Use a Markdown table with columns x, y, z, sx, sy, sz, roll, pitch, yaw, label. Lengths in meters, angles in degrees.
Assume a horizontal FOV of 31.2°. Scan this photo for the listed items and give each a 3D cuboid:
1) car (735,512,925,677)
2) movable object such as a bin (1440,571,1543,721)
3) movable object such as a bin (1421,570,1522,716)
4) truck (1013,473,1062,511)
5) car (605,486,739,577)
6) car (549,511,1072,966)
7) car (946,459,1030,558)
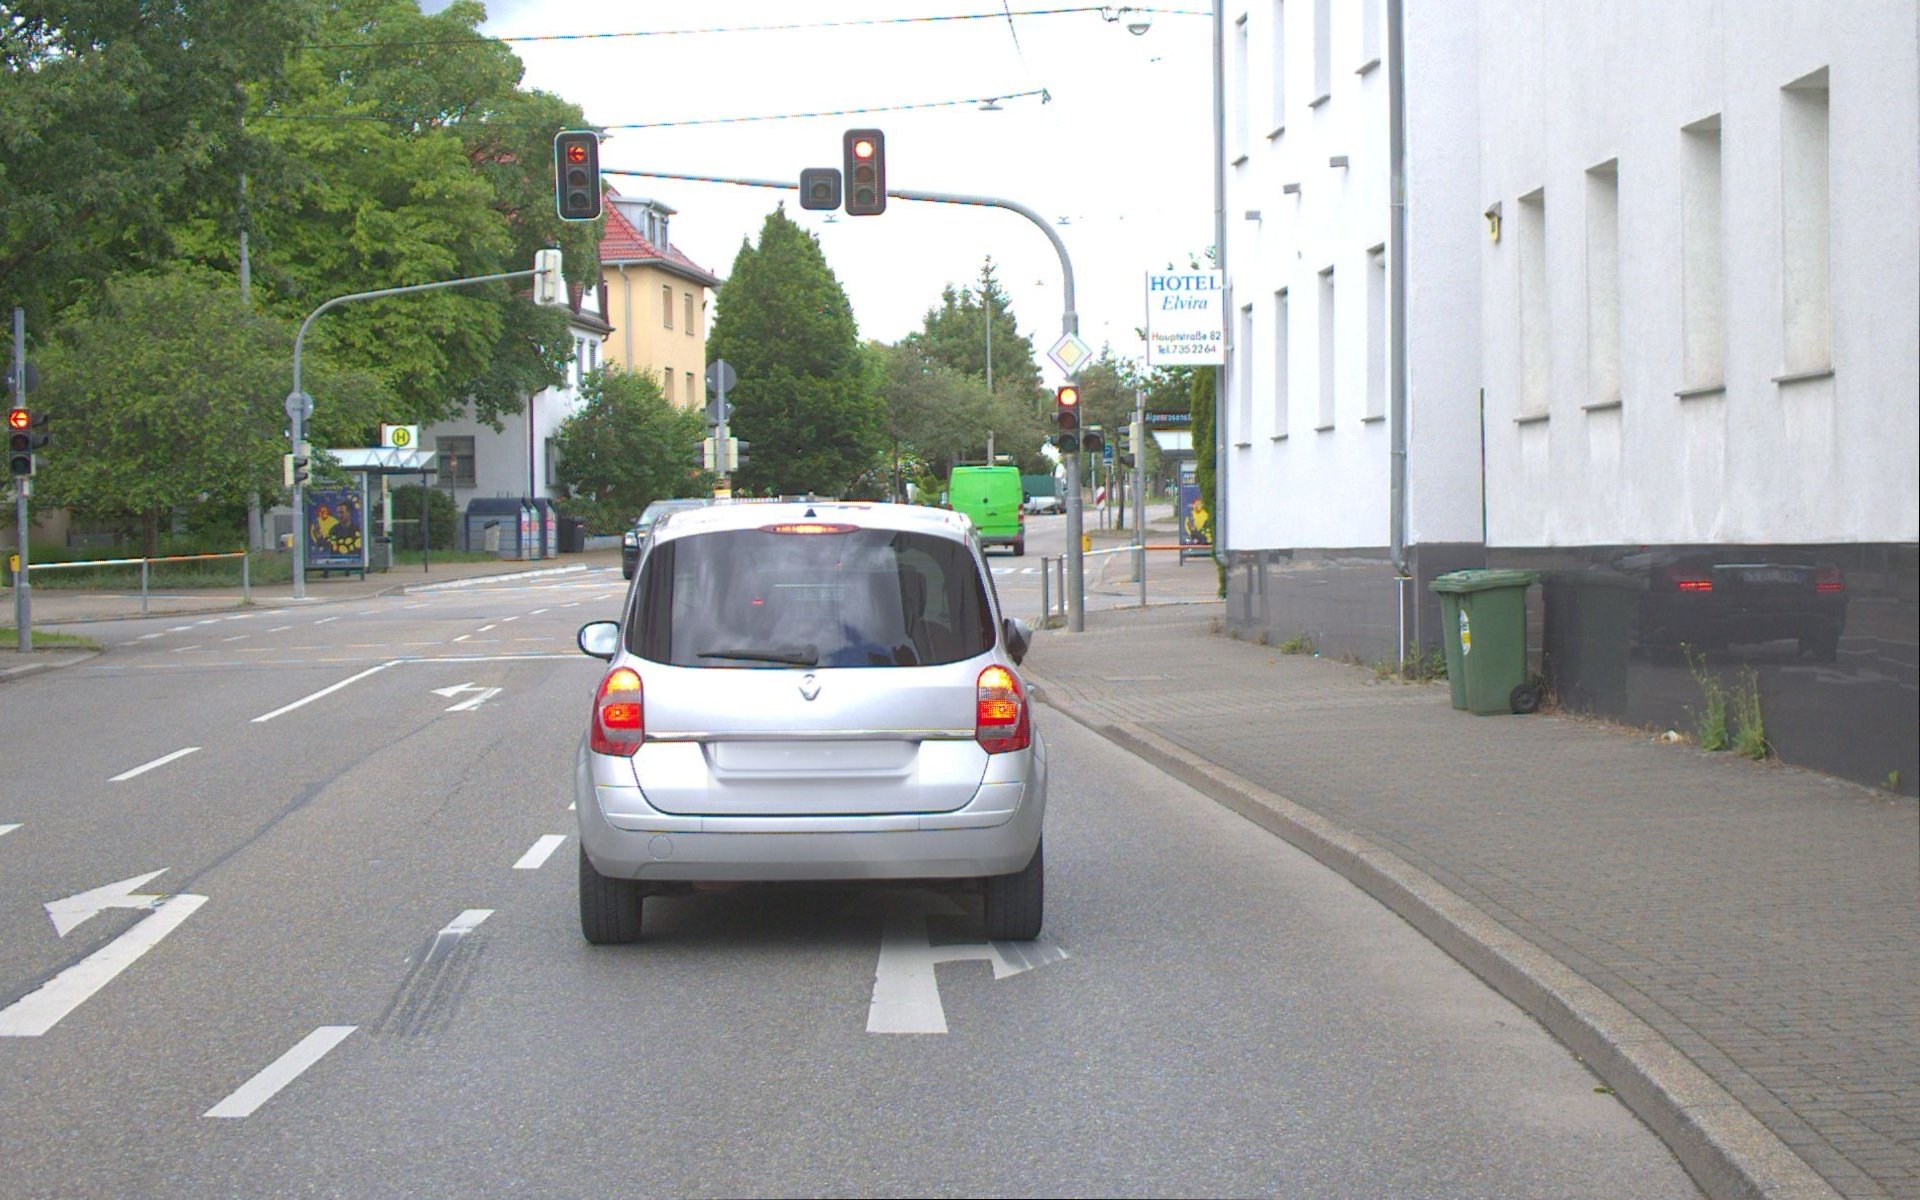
| x | y | z | sx | sy | sz | roll | pitch | yaw | label |
| --- | --- | --- | --- | --- | --- | --- | --- | --- | --- |
| -1.300 | -0.090 | 33.662 | 1.755 | 1.525 | 3.798 | 0 | 1 | -3 | car |
| 3.477 | 0.294 | 22.516 | 0.540 | 0.938 | 0.487 | -3 | 1 | -2 | movable object such as a bin |
| 3.428 | 0.283 | 23.050 | 0.540 | 0.938 | 0.487 | -3 | 1 | -2 | movable object such as a bin |
| 4.234 | -5.847 | 186.801 | 2.102 | 2.007 | 5.746 | 0 | 1 | 7 | truck |
| -6.161 | -1.504 | 74.072 | 1.927 | 1.767 | 3.999 | -4 | 1 | 8 | car |
| -0.603 | 0.424 | 13.557 | 1.755 | 1.525 | 4.001 | 0 | 1 | -3 | car |
| 0.765 | -2.370 | 89.720 | 2.059 | 2.503 | 5.595 | 0 | 1 | 2 | car |
